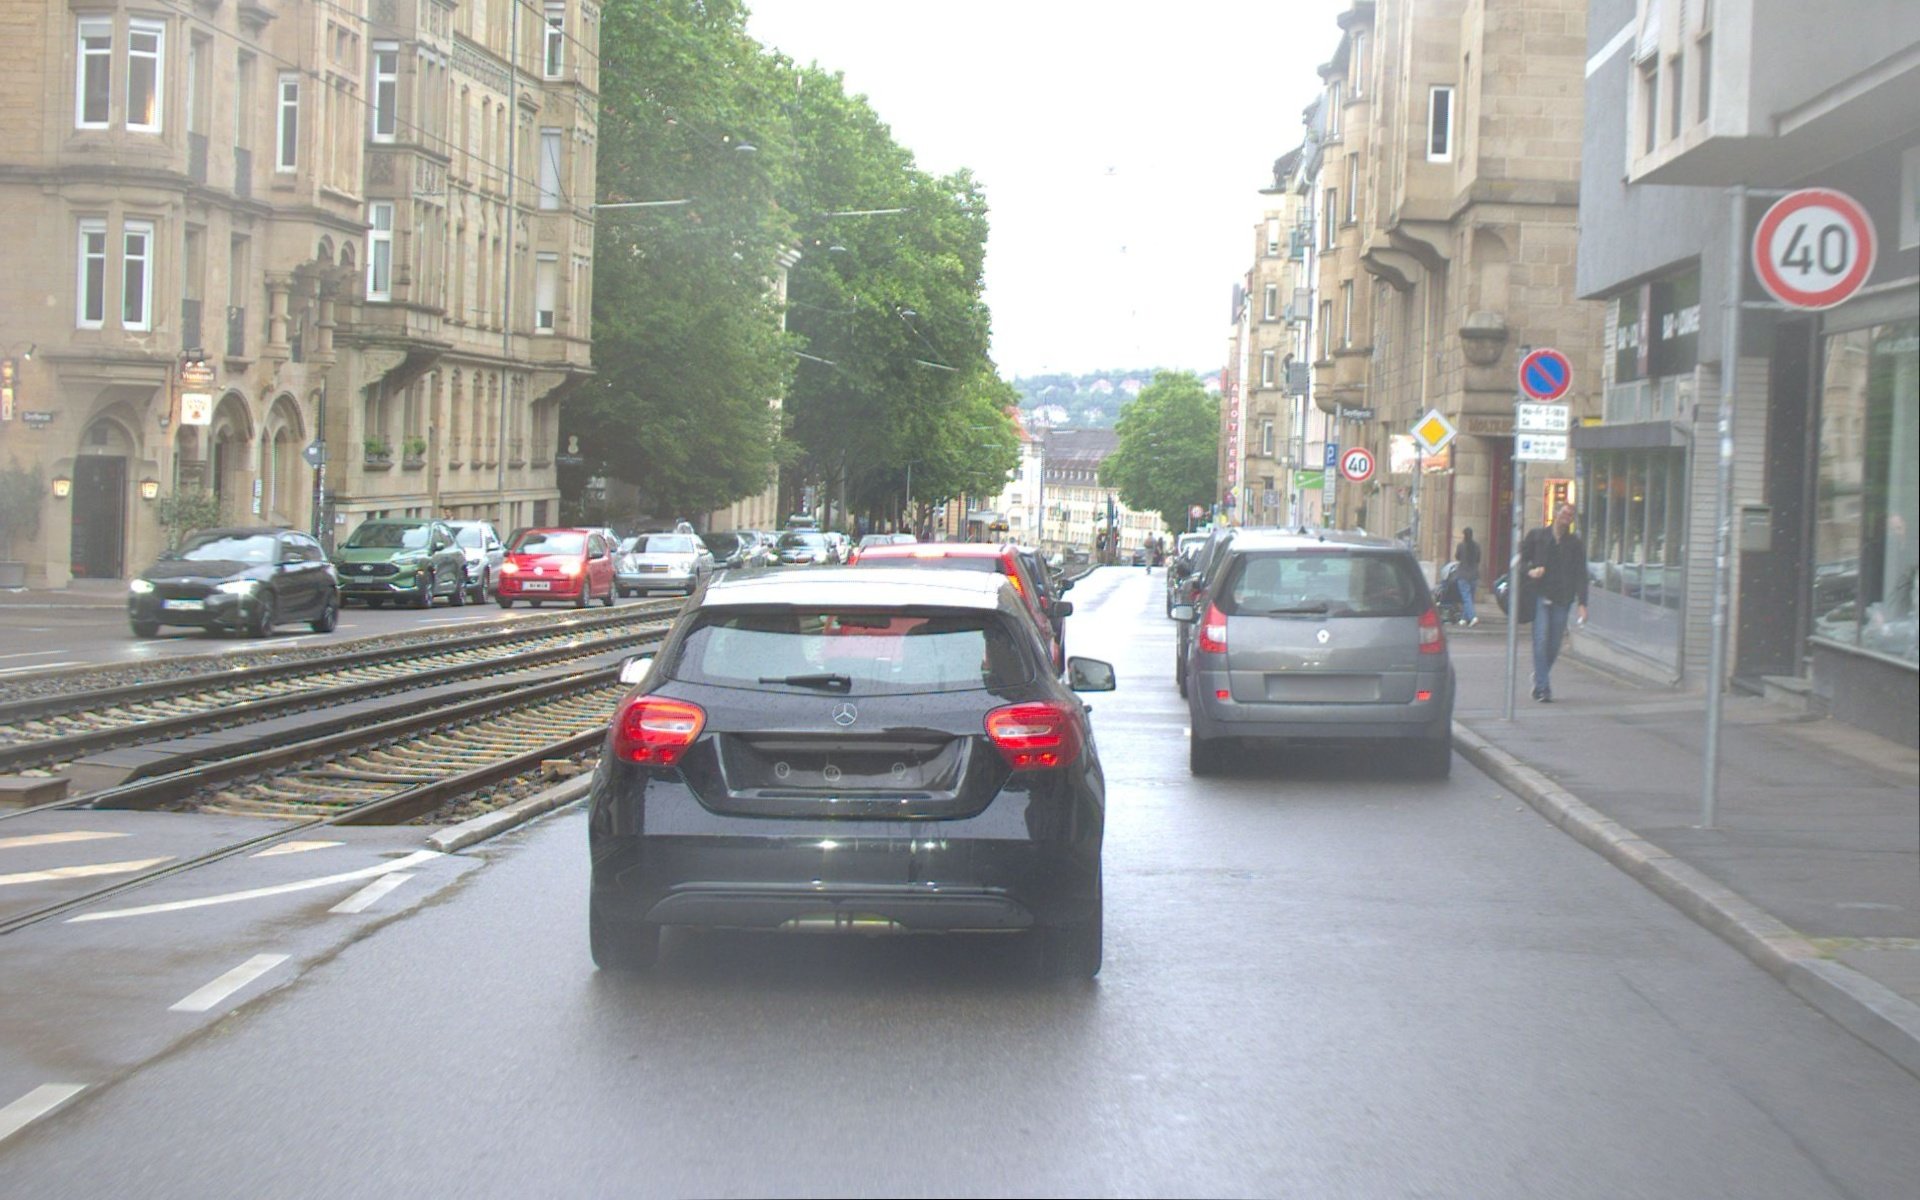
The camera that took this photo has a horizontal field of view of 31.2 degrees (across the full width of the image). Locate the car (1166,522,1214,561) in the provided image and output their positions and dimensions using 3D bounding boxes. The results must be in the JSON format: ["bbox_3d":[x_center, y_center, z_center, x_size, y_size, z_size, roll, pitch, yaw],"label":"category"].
[{"bbox_3d":[7.927,-2.023,118.691,1.613,1.313,4.000,1,1,3],"label":"car"}]

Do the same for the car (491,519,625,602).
[{"bbox_3d":[-7.486,-0.746,64.346,1.681,1.492,3.518,1,1,7],"label":"car"}]

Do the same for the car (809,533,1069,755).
[{"bbox_3d":[-0.083,0.263,25.632,1.649,1.447,4.000,2,1,3],"label":"car"}]

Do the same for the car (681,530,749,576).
[{"bbox_3d":[-7.697,-1.486,108.198,1.569,1.408,3.480,1,1,5],"label":"car"}]

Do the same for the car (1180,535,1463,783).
[{"bbox_3d":[2.454,0.332,24.310,1.765,1.553,4.745,1,1,4],"label":"car"}]

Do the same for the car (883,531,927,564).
[{"bbox_3d":[-2.398,-2.293,150.352,1.569,1.408,3.480,1,1,5],"label":"car"}]

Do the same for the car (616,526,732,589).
[{"bbox_3d":[-6.424,-0.982,77.629,1.807,1.356,4.762,1,1,5],"label":"car"}]

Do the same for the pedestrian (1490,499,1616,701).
[{"bbox_3d":[5.327,-0.013,30.955,0.945,1.763,1.015,1,1,2],"label":"pedestrian"}]

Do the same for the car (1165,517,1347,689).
[{"bbox_3d":[3.043,-0.016,36.031,1.750,1.664,4.703,1,1,3],"label":"car"}]

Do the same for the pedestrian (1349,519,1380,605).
[{"bbox_3d":[7.012,-0.658,59.631,0.454,1.461,0.610,2,1,3],"label":"pedestrian"}]

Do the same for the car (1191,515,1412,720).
[{"bbox_3d":[2.940,0.100,30.253,1.683,1.664,4.122,1,1,2],"label":"car"}]

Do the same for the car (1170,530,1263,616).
[{"bbox_3d":[4.632,-0.513,62.450,1.622,1.479,4.000,1,1,3],"label":"car"}]

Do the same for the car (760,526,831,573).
[{"bbox_3d":[-5.005,-1.561,104.995,1.695,1.384,3.480,1,1,5],"label":"car"}]

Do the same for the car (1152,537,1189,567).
[{"bbox_3d":[9.360,-2.146,152.805,1.613,1.313,4.000,1,1,3],"label":"car"}]

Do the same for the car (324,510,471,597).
[{"bbox_3d":[-10.280,-0.863,63.060,1.722,1.536,3.933,1,1,5],"label":"car"}]

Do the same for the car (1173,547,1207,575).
[{"bbox_3d":[11.751,-1.998,175.662,1.613,1.313,4.000,3,1,3],"label":"car"}]

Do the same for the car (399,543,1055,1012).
[{"bbox_3d":[-0.713,0.539,13.165,1.867,1.447,3.999,2,1,5],"label":"car"}]

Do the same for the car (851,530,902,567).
[{"bbox_3d":[-3.218,-1.994,133.183,1.569,1.408,3.480,1,1,5],"label":"car"}]

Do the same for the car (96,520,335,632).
[{"bbox_3d":[-9.687,-0.343,45.079,1.948,1.392,4.274,0,1,4],"label":"car"}]

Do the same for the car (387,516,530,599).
[{"bbox_3d":[-9.988,-0.869,68.750,1.807,1.591,4.525,1,1,5],"label":"car"}]
